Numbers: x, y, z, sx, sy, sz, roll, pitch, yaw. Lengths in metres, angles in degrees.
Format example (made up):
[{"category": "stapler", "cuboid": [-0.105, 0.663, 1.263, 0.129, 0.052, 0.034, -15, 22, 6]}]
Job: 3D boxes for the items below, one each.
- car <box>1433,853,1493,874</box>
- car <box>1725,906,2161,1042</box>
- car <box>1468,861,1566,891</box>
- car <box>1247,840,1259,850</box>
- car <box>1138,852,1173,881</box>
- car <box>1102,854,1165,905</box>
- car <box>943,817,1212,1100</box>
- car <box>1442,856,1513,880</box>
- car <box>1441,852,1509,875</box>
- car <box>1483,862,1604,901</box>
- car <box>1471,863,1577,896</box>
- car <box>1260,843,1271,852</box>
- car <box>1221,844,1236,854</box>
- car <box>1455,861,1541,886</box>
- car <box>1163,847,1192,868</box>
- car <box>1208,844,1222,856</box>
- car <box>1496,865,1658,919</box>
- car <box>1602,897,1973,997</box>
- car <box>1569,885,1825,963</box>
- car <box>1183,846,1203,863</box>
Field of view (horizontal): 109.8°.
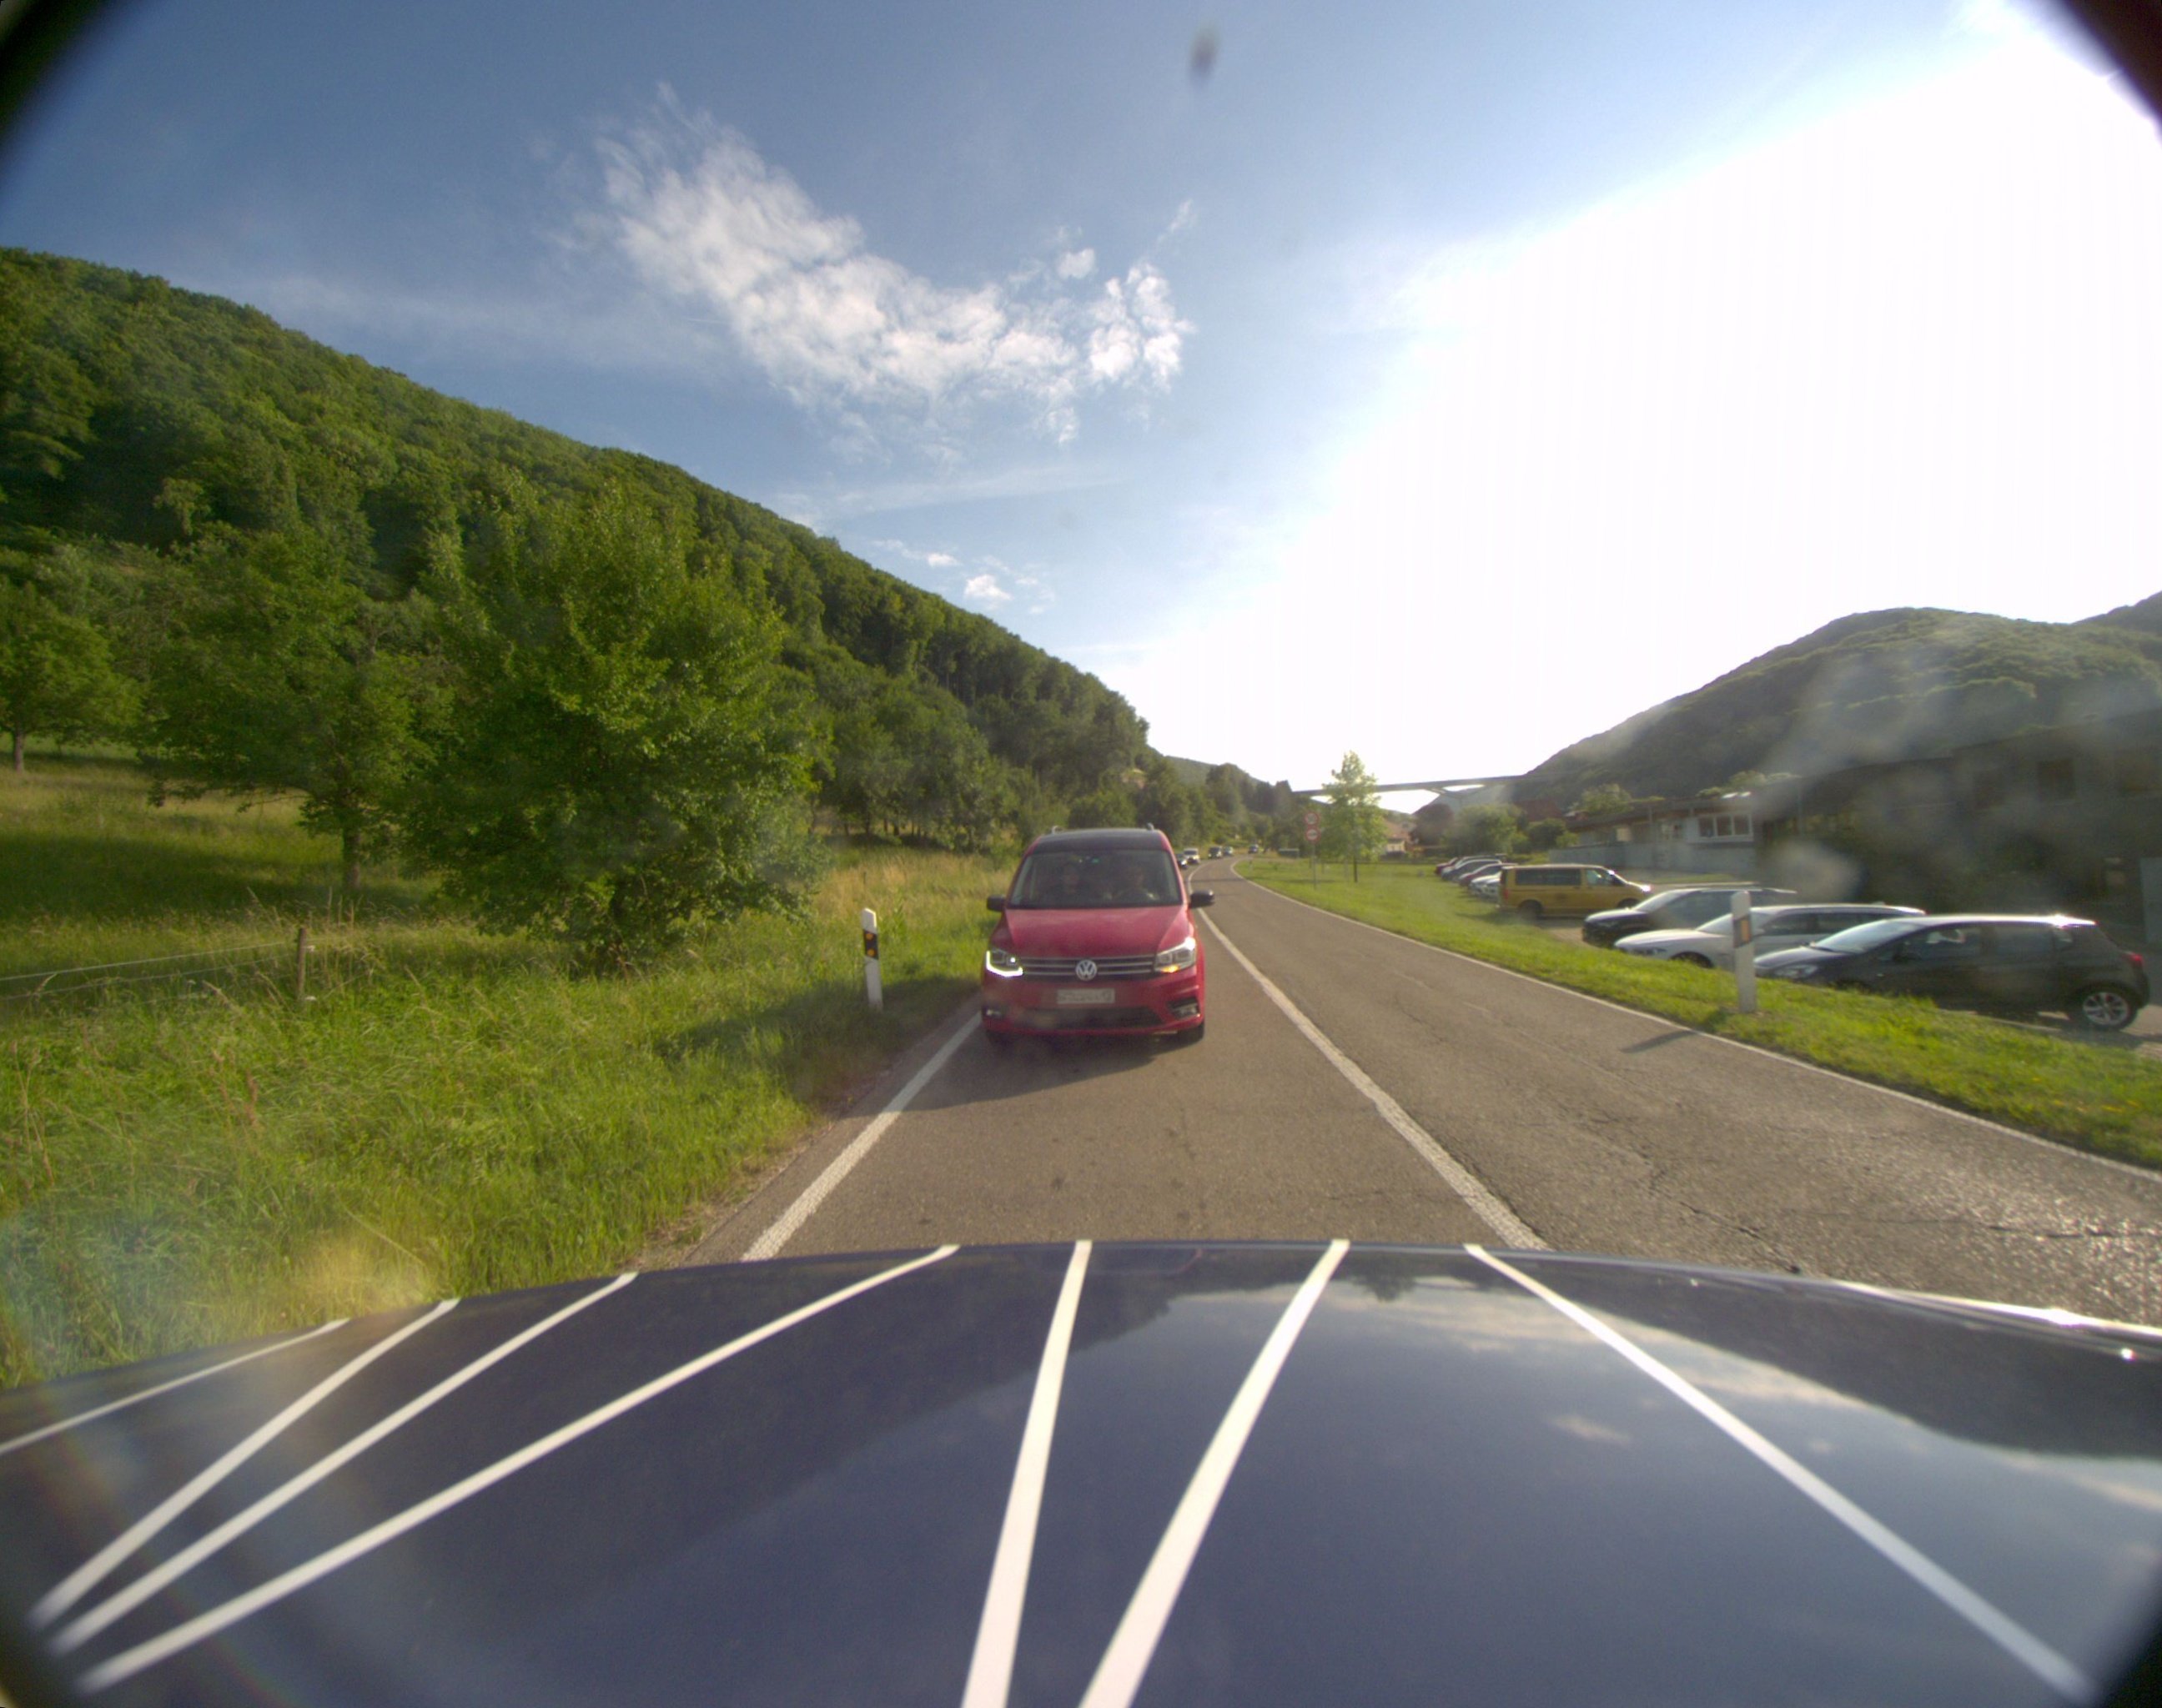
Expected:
[{"category": "car", "cuboid": [32.766, 0.843, 65.329, 4.436, 1.709, 2.003, -1, 0, 22]}, {"category": "car", "cuboid": [12.198, 1.608, 11.009, 3.990, 1.526, 1.836, -1, 0, 22]}, {"category": "car", "cuboid": [23.804, 1.202, 41.675, 4.436, 1.573, 2.003, -1, 0, 22]}, {"category": "car", "cuboid": [35.915, -1.883, 158.469, 1.909, 1.893, 4.005, -2, 1, 19]}, {"category": "car", "cuboid": [4.277, 0.682, 43.111, 1.797, 1.464, 4.286, -2, 0, 8]}, {"category": "car", "cuboid": [1.695, 0.765, 24.496, 1.798, 1.464, 4.285, -2, 0, 4]}, {"category": "car", "cuboid": [0.128, 0.719, 7.237, 1.746, 1.849, 4.350, -2, 0, 4]}, {"category": "car", "cuboid": [29.089, 1.030, 55.901, 4.437, 1.573, 2.003, -2, 0, 22]}, {"category": "car", "cuboid": [31.159, 0.760, 60.243, 4.664, 1.752, 2.003, -1, 0, 22]}, {"category": "car", "cuboid": [21.318, 1.263, 35.262, 4.544, 1.691, 2.003, -1, 0, 23]}, {"category": "car", "cuboid": [22.402, 1.257, 38.601, 4.436, 1.577, 2.003, -1, 0, 23]}, {"category": "car", "cuboid": [41.534, -1.457, 170.703, 1.909, 1.893, 4.005, -2, 1, 19]}, {"category": "car", "cuboid": [25.034, -0.834, 128.859, 1.996, 1.706, 4.005, -2, 0, 17]}, {"category": "car", "cuboid": [25.396, 1.174, 46.462, 4.436, 1.443, 2.003, -1, 0, 23]}, {"category": "car", "cuboid": [8.123, 0.309, 63.434, 1.911, 1.675, 4.005, -2, -1, 14]}, {"category": "car", "cuboid": [19.663, -0.581, 111.421, 1.676, 1.637, 3.350, -2, 0, 17]}, {"category": "car", "cuboid": [17.863, 1.337, 27.662, 4.652, 1.802, 2.003, -1, 0, 23]}, {"category": "car", "cuboid": [12.623, 1.601, 14.010, 4.644, 1.488, 1.915, -1, 0, 19]}, {"category": "car", "cuboid": [14.425, 1.661, 18.113, 4.288, 1.628, 1.915, -3, 0, 18]}, {"category": "car", "cuboid": [12.080, 0.009, 81.809, 1.797, 1.725, 4.287, -2, 0, 12]}]
